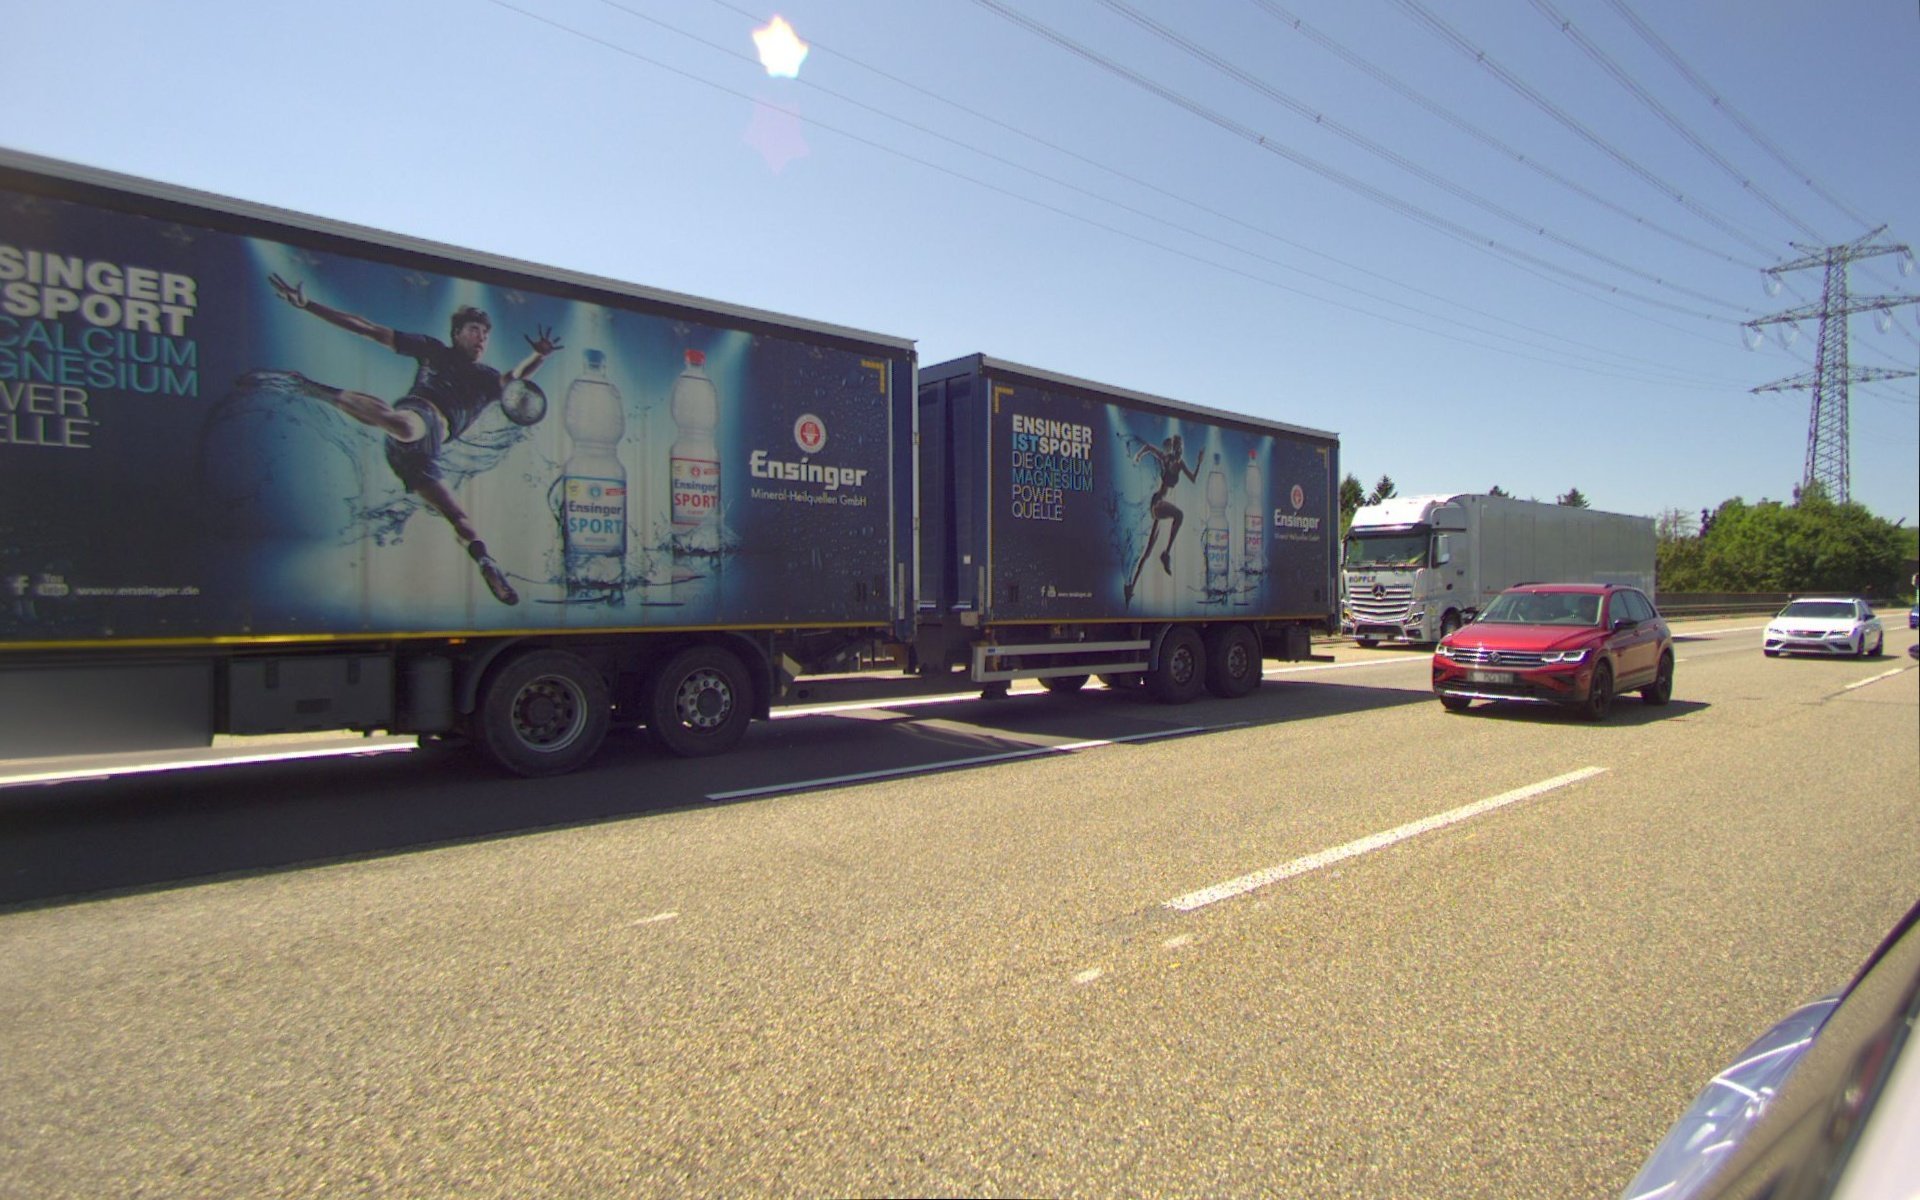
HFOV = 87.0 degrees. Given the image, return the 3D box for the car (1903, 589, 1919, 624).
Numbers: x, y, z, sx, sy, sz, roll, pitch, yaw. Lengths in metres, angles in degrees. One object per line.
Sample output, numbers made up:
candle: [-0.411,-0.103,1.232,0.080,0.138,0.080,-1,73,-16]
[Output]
car: [42.007,0.277,43.444,4.135,1.463,1.739,0,1,-40]

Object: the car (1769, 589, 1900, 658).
car: [21.027,0.509,24.282,4.001,1.508,1.841,-1,0,-41]

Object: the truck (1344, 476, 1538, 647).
truck: [13.040,-0.972,27.299,5.612,4.171,2.523,0,1,-38]

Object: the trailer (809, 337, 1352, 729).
trailer: [2.139,-0.727,14.022,8.331,3.994,2.570,-1,0,-41]

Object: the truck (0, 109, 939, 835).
truck: [-4.900,-0.739,7.888,10.264,4.118,2.527,0,0,-41]

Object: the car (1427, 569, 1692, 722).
car: [7.870,0.472,13.133,4.151,1.683,1.778,-1,1,-41]

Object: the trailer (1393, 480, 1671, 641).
trailer: [18.136,-1.076,31.323,13.522,4.172,2.541,-1,0,-38]
